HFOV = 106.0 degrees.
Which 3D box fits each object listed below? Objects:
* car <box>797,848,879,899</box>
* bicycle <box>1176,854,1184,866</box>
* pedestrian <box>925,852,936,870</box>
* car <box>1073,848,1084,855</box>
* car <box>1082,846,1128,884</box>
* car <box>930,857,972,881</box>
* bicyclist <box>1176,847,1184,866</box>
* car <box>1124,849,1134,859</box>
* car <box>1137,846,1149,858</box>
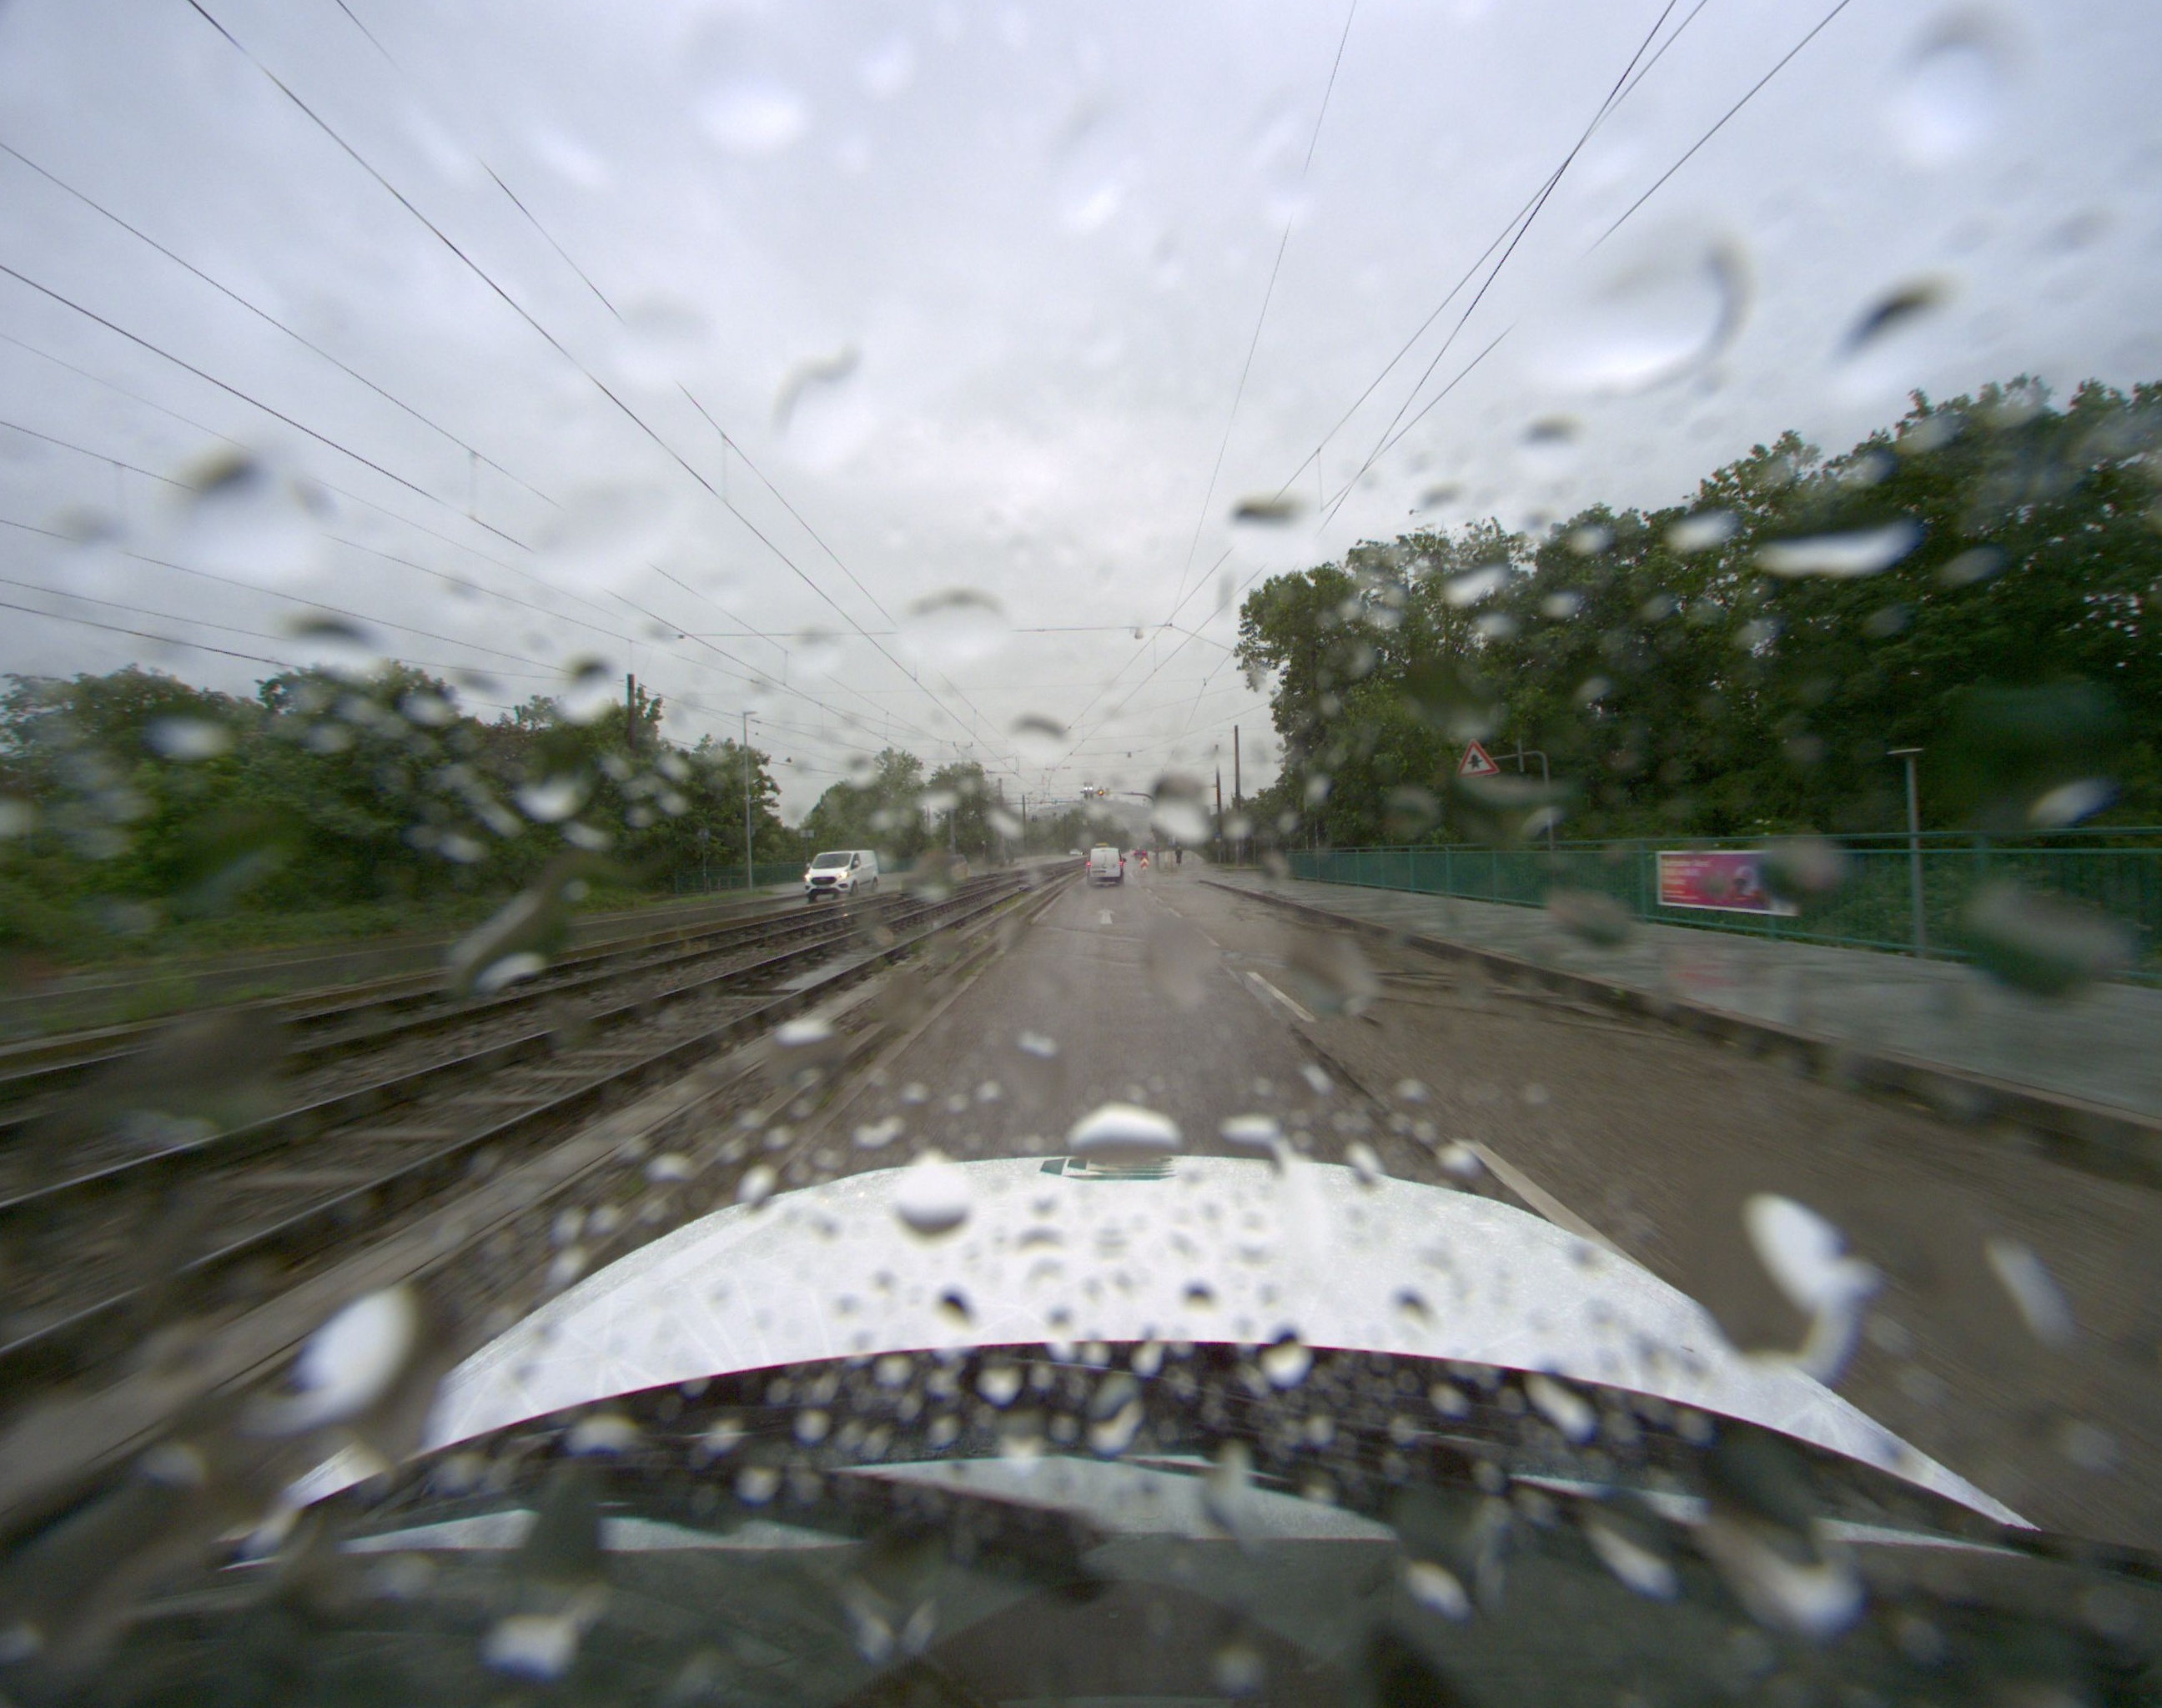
[{"bbox_3d":[-10.495,0.785,35.611,1.986,2.044,5.029,0,0,1],"label":"car"},{"bbox_3d":[9.376,0.539,76.961,0.719,1.129,2.171,0,0,6],"label":"bicycle"},{"bbox_3d":[-15.330,0.740,83.231,0.860,1.819,1.044,0,-1,4],"label":"pedestrian"},{"bbox_3d":[-0.450,-0.447,173.112,1.925,1.231,4.107,-4,2,6],"label":"car"},{"bbox_3d":[1.199,0.535,39.183,1.984,1.726,4.005,0,0,4],"label":"car"},{"bbox_3d":[-9.195,1.025,57.879,1.986,1.648,5.373,0,0,1],"label":"car"},{"bbox_3d":[9.390,0.244,76.974,0.722,1.764,0.951,0,-1,6],"label":"bicyclist"},{"bbox_3d":[7.521,-0.029,127.536,1.445,1.499,2.983,0,0,2],"label":"car"},{"bbox_3d":[8.512,-0.264,112.351,1.445,1.499,2.983,0,0,2],"label":"car"}]
